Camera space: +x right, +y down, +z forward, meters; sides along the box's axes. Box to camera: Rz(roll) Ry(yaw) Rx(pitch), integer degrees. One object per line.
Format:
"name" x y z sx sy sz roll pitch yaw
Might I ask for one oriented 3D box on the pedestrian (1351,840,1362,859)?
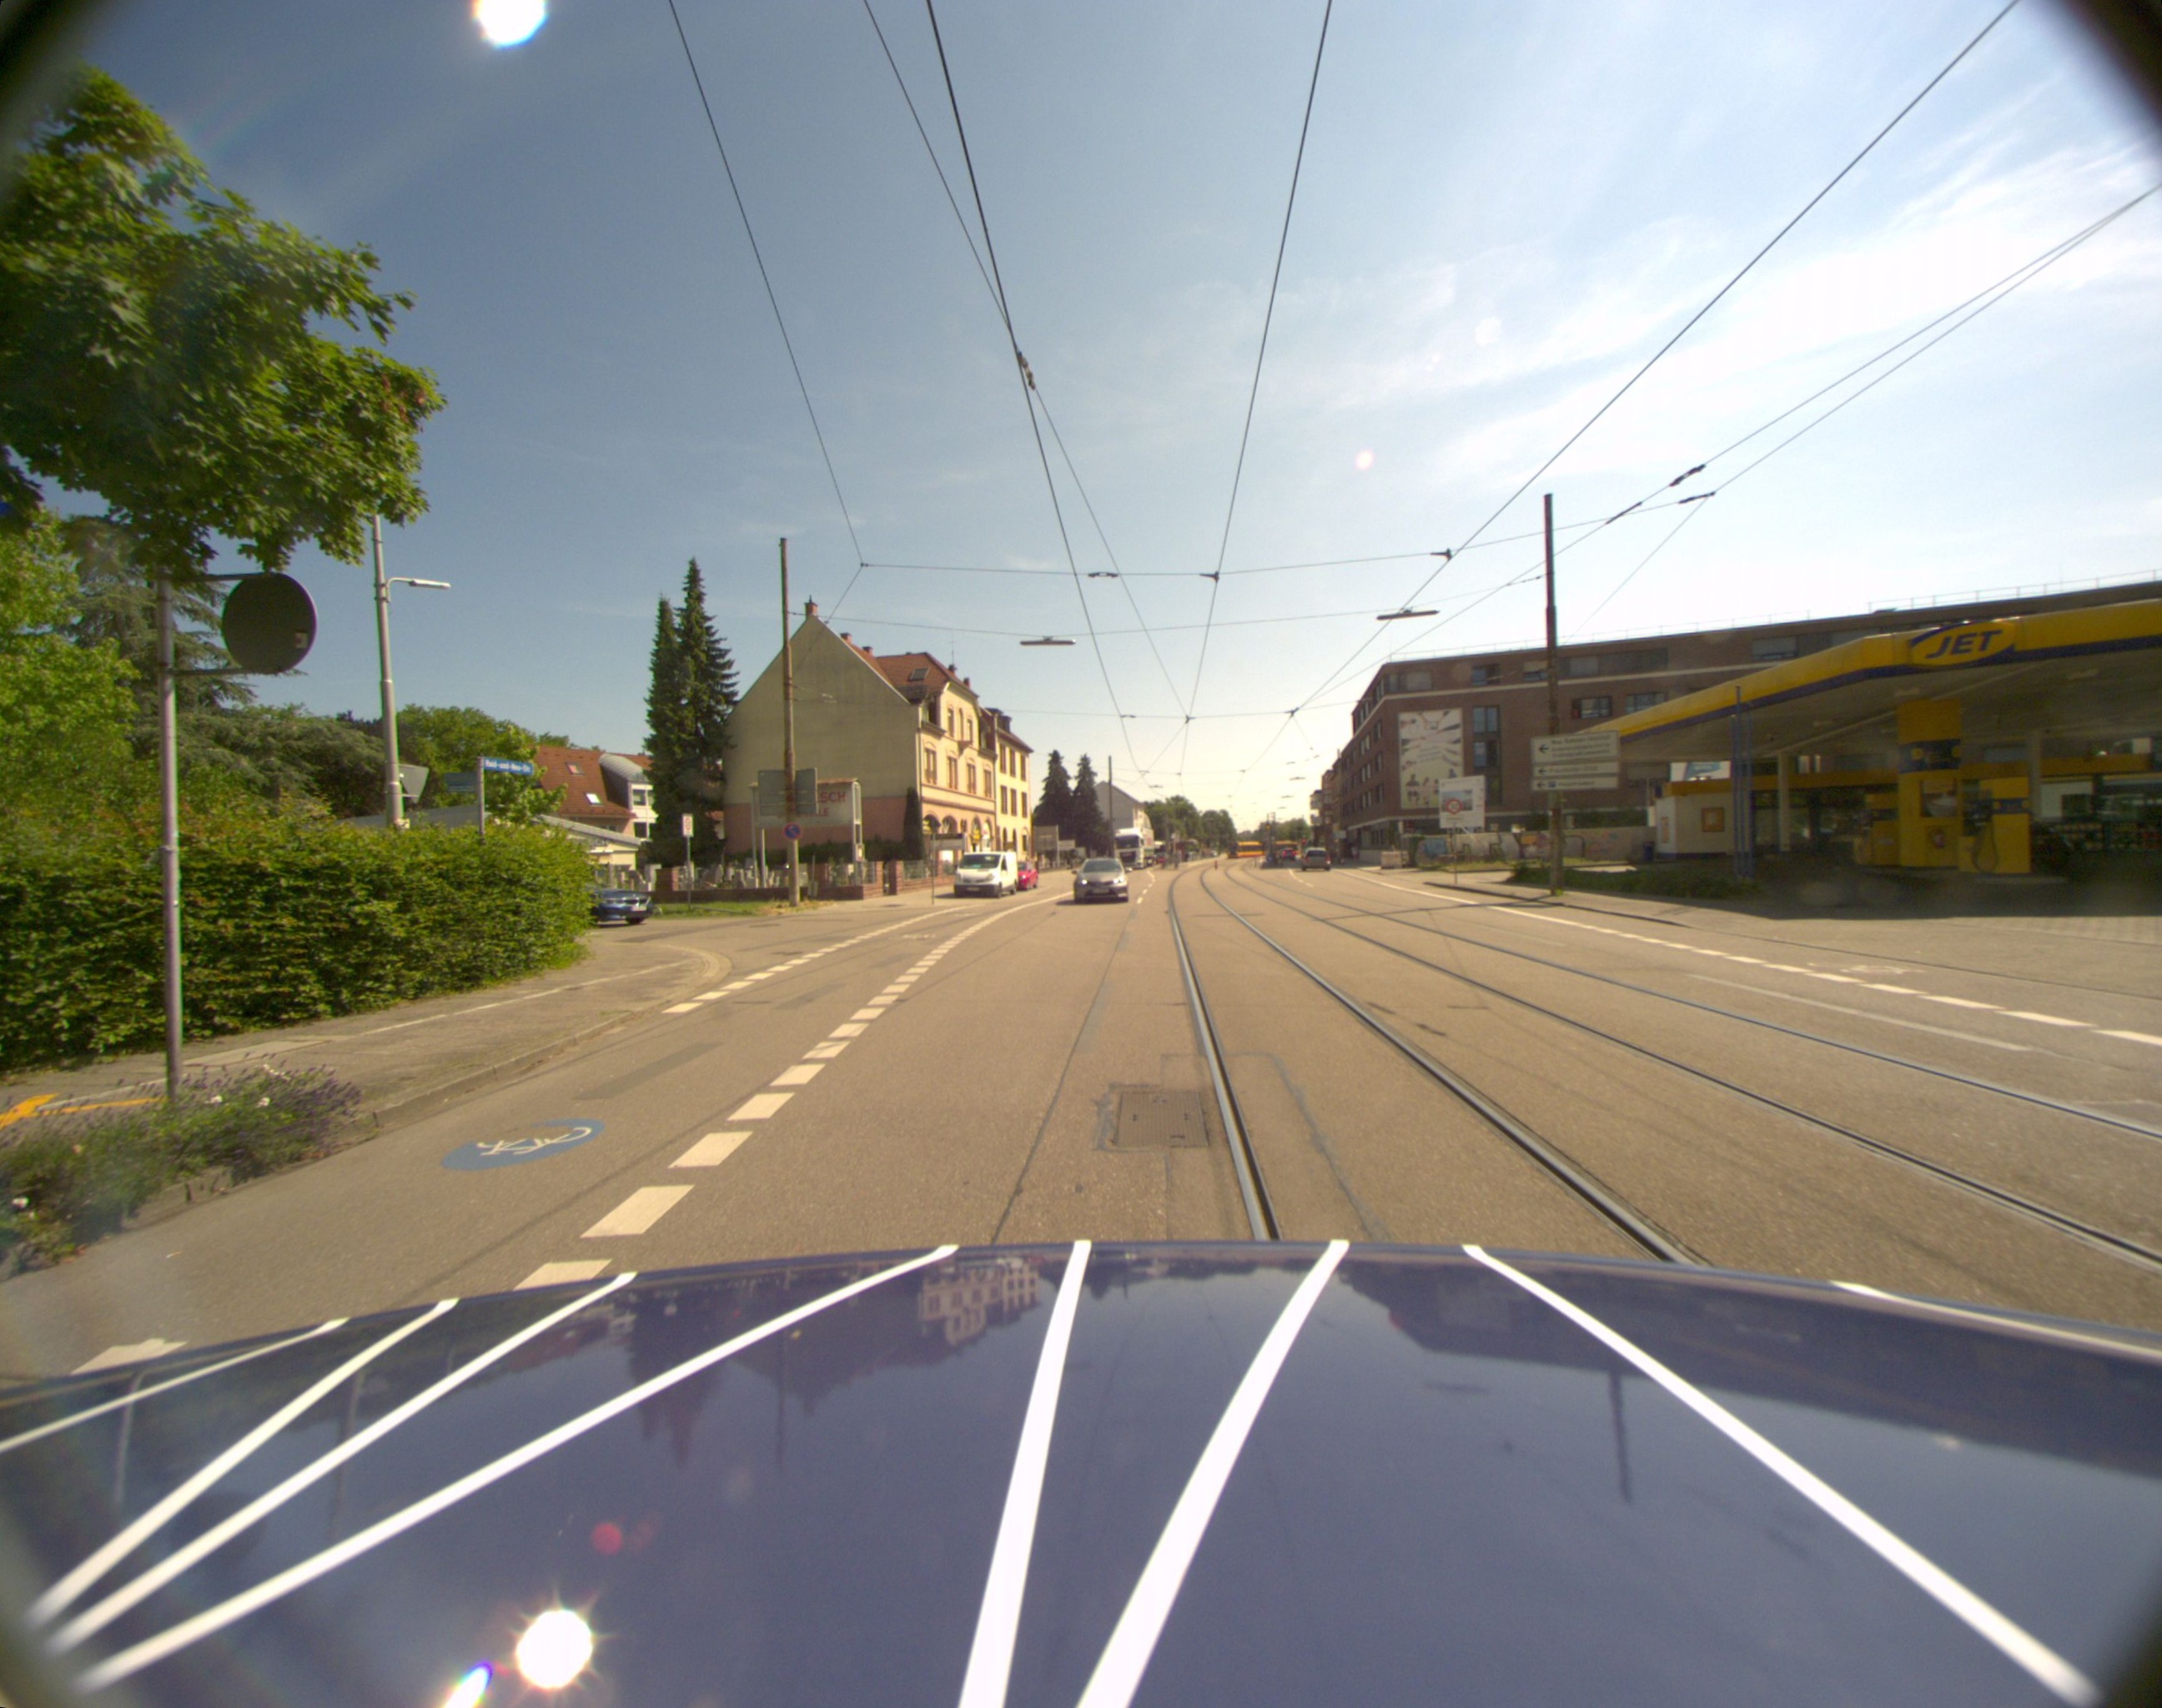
"pedestrian" 27.260 -0.444 75.138 0.846 1.808 0.839 -2 0 14

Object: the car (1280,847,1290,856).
"car" 34.525 -0.404 128.609 1.628 1.460 3.869 -2 -1 14

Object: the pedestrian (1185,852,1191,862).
"pedestrian" 13.681 0.439 96.865 0.630 1.247 0.710 -1 1 13

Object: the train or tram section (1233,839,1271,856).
"train or tram section" 37.977 -1.423 167.970 2.681 3.460 13.364 -2 0 38

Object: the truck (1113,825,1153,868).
"truck" 5.102 -0.709 73.099 2.655 3.772 7.870 -2 0 12

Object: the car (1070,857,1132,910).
"car" 0.740 0.905 24.882 1.695 1.440 4.482 -3 0 4

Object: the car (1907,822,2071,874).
"car" 26.535 -0.222 22.415 1.698 1.295 4.398 -4 0 31

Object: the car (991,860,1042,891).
"car" -3.206 1.053 38.432 1.725 1.435 4.314 0 1 6

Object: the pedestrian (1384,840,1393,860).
"pedestrian" 25.818 -0.304 63.767 0.582 1.654 0.700 -2 1 12

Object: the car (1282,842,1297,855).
"car" 28.857 -0.745 105.301 1.804 1.718 4.193 -4 -1 14

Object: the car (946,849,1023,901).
"car" -3.993 0.811 32.357 1.980 2.043 5.193 0 1 7

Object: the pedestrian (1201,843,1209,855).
"pedestrian" 19.086 -0.748 116.772 0.982 1.847 1.239 -2 0 14

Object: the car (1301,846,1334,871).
"car" 16.114 0.302 51.923 1.749 1.562 3.894 -1 1 11

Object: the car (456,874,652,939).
"car" -12.937 1.275 18.759 3.753 1.380 1.672 -2 0 7

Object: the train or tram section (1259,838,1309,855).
"train or tram section" 47.272 -1.799 176.730 13.359 3.460 2.682 -2 1 -33

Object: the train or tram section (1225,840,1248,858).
"train or tram section" 32.202 -1.148 156.918 2.683 3.460 13.356 -2 0 19
